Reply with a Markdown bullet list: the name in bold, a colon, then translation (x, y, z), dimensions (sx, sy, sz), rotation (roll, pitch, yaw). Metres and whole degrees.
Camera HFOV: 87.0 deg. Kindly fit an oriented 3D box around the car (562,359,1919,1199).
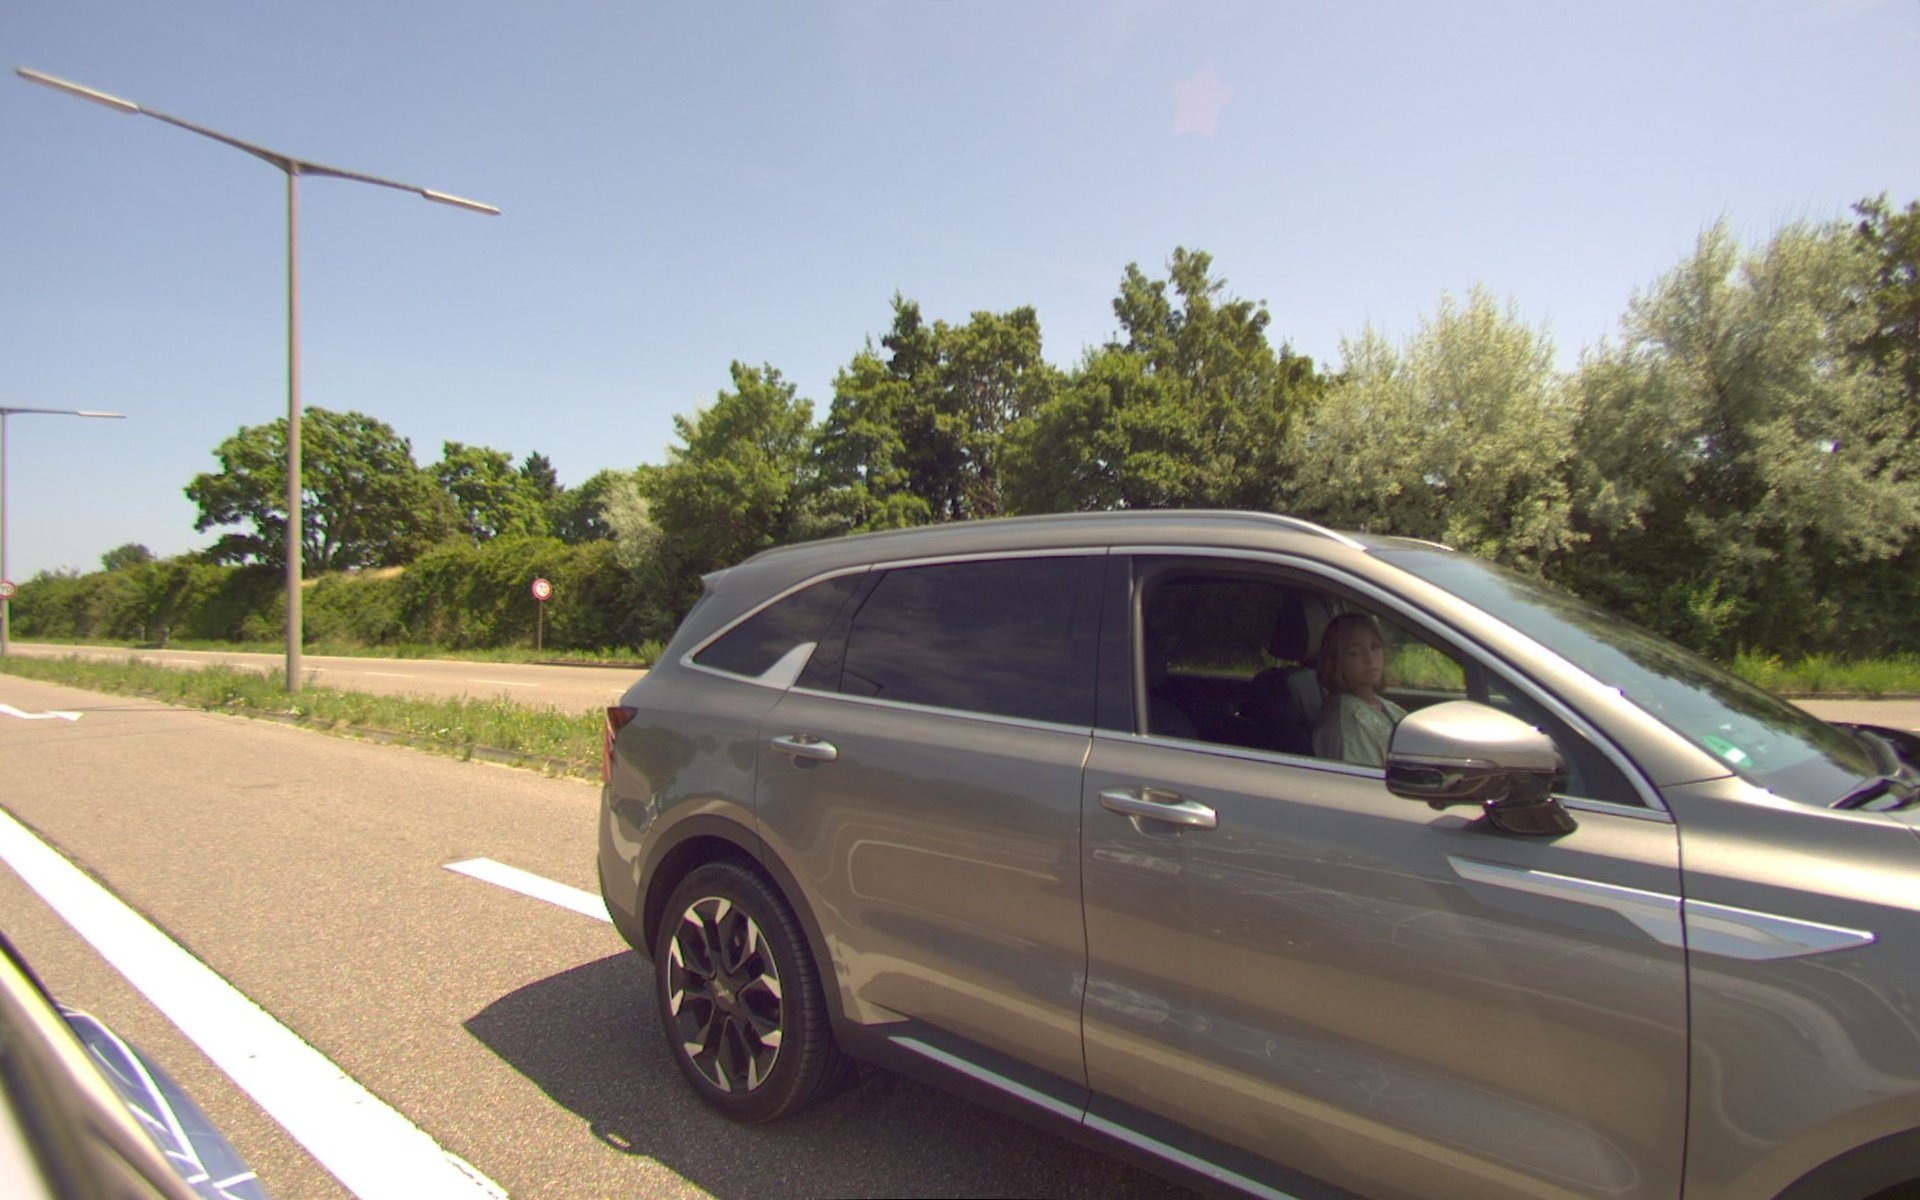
- **car**: translation (0.935, 0.571, 2.648), dimensions (4.528, 1.681, 1.762), rotation (-2, -2, 40)
